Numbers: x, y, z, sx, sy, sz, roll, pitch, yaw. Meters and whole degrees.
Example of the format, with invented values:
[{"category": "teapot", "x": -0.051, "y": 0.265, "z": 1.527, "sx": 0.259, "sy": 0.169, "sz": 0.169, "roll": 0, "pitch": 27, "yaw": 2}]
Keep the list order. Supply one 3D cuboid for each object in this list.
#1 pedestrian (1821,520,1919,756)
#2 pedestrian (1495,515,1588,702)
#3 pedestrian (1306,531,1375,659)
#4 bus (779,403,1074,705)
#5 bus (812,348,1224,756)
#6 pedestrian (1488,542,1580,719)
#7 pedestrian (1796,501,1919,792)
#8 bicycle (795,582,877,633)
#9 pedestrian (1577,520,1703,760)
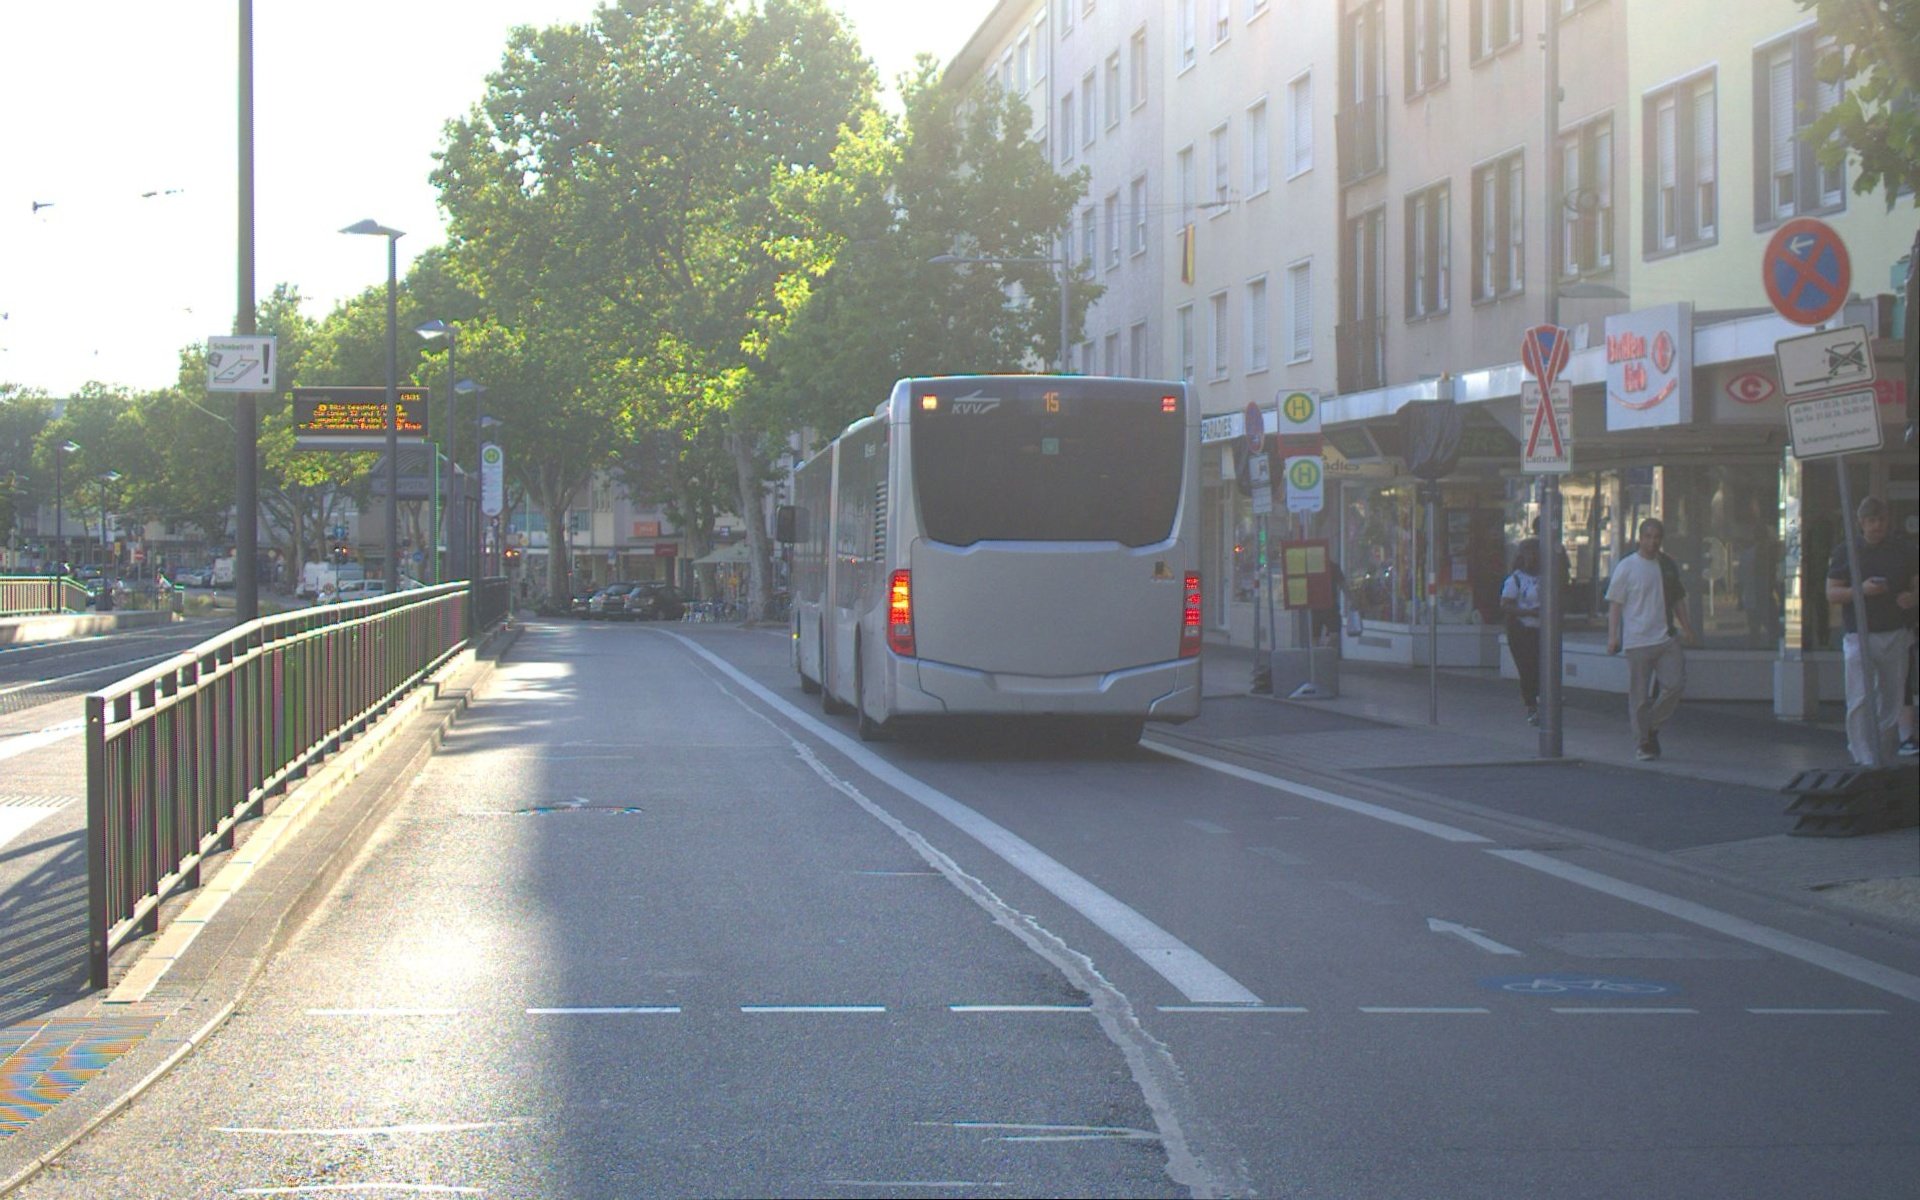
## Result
[{"category": "pedestrian", "x": 6.857, "y": 0.272, "z": 25.420, "sx": 0.723, "sy": 1.717, "sz": 0.766, "roll": 0, "pitch": 0, "yaw": -6}, {"category": "pedestrian", "x": 5.749, "y": 0.078, "z": 34.021, "sx": 0.723, "sy": 1.834, "sz": 0.766, "roll": 0, "pitch": 0, "yaw": -6}, {"category": "pedestrian", "x": 4.868, "y": -0.065, "z": 44.040, "sx": 0.723, "sy": 1.627, "sz": 0.766, "roll": 0, "pitch": 0, "yaw": -6}, {"category": "bus", "x": -0.581, "y": -0.527, "z": 40.428, "sx": 2.696, "sy": 3.107, "sz": 9.072, "roll": 1, "pitch": 1, "yaw": -5}, {"category": "bus", "x": 0.252, "y": -0.418, "z": 31.244, "sx": 2.696, "sy": 3.107, "sz": 9.383, "roll": 1, "pitch": 1, "yaw": -5}, {"category": "pedestrian", "x": 5.169, "y": 0.271, "z": 30.995, "sx": 0.610, "sy": 1.573, "sz": 0.851, "roll": 0, "pitch": 0, "yaw": -6}, {"category": "pedestrian", "x": 5.750, "y": 0.284, "z": 21.639, "sx": 0.723, "sy": 1.800, "sz": 0.766, "roll": 0, "pitch": 0, "yaw": -6}, {"category": "bicycle", "x": -2.951, "y": 0.167, "z": 81.707, "sx": 1.886, "sy": 1.073, "sz": 0.754, "roll": -4, "pitch": 1, "yaw": -3}, {"category": "pedestrian", "x": 5.091, "y": 0.294, "z": 25.771, "sx": 0.723, "sy": 1.773, "sz": 0.766, "roll": 0, "pitch": 0, "yaw": -6}]
